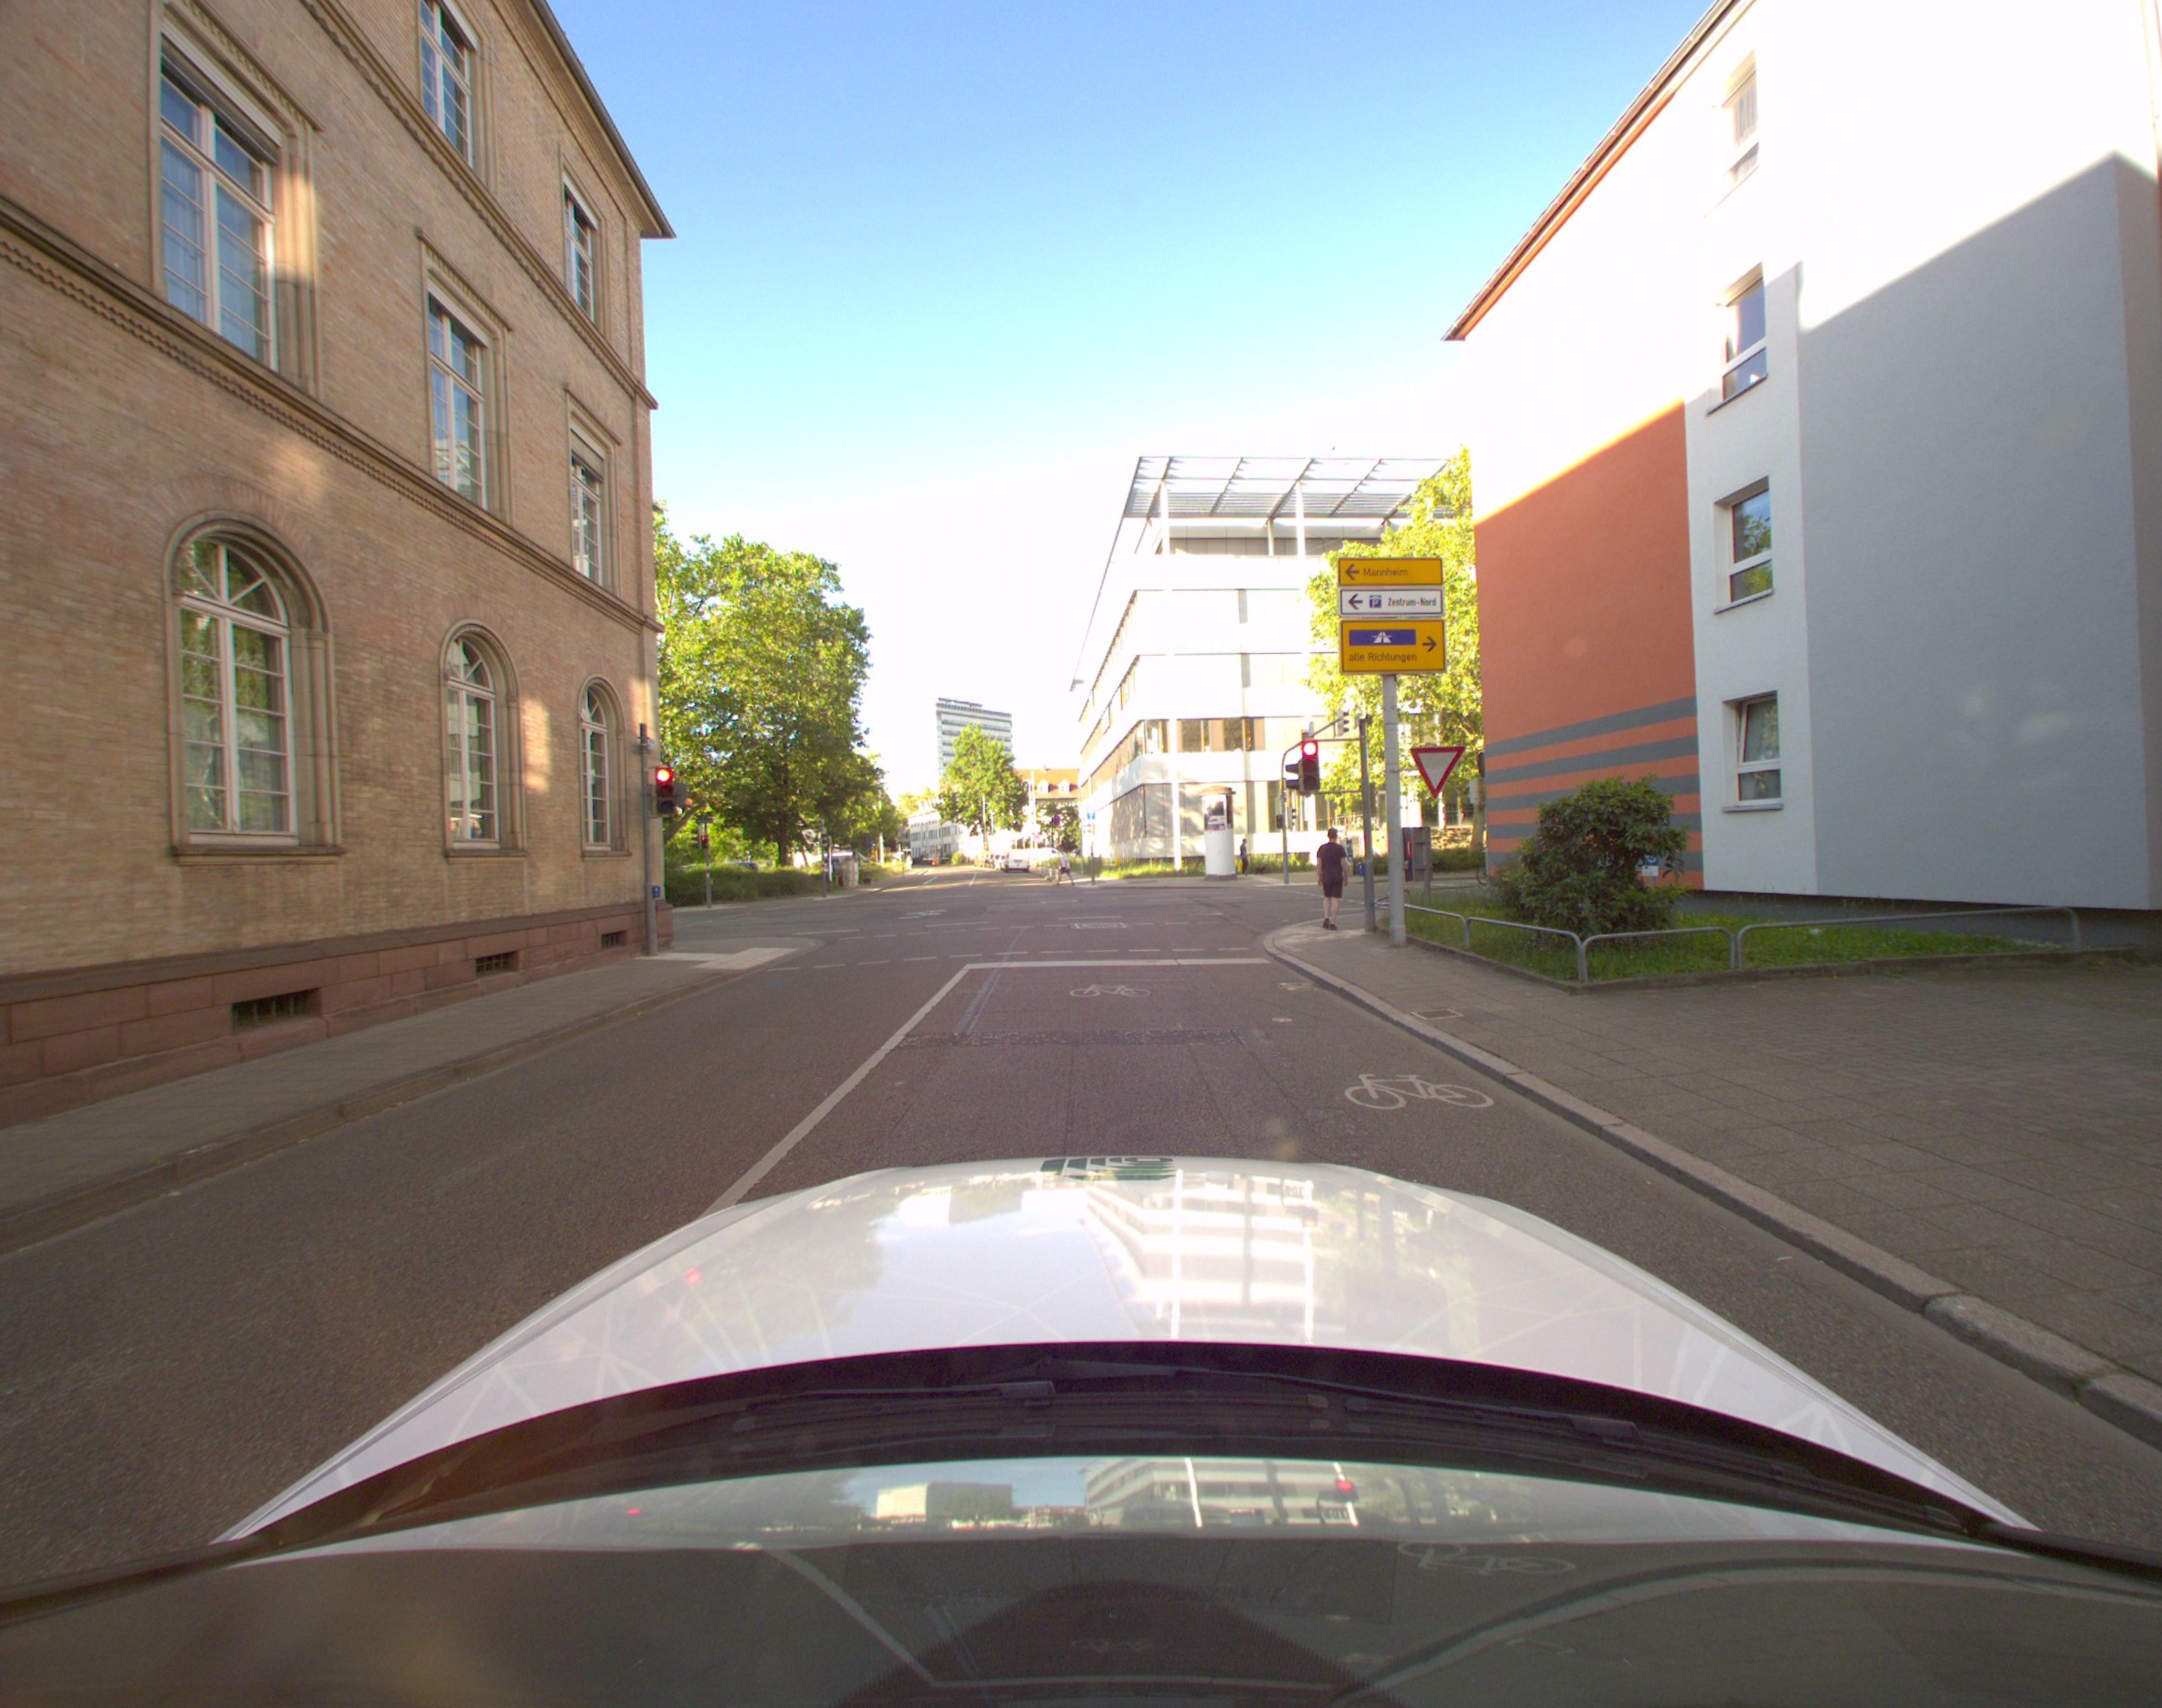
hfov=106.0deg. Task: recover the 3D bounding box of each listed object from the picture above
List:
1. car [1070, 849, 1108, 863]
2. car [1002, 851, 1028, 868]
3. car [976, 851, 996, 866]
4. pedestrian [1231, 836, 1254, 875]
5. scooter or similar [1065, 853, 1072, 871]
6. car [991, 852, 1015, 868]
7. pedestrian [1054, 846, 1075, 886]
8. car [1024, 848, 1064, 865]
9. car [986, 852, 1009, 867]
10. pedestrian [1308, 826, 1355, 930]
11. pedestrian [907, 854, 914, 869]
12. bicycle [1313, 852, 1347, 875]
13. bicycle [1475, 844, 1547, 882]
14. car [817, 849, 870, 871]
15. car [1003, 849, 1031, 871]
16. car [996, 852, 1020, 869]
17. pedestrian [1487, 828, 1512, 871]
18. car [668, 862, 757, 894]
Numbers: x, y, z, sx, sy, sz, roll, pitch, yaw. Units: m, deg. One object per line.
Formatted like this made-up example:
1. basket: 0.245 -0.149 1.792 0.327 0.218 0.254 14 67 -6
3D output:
1. car: 1.023 0.278 104.958 4.644 1.725 1.990 0 -1 -15
2. car: -5.847 0.493 71.355 1.993 1.499 4.638 0 -1 -8
3. car: -11.300 0.557 96.306 1.995 1.725 4.633 0 -1 -11
4. pedestrian: 7.705 0.063 38.834 0.913 1.815 0.760 0 -1 -6
5. scooter or similar: -0.913 0.592 58.478 0.436 1.256 1.418 -2 0 -2
6. car: -7.842 0.601 81.629 1.994 1.499 4.270 0 -1 -11
7. pedestrian: -0.755 0.553 37.871 0.911 1.869 0.743 0 -1 1
8. car: -4.683 0.294 103.251 4.802 2.159 1.989 0 -1 -16
9. car: -8.884 0.608 86.382 1.994 1.499 4.635 0 -1 -10
10. pedestrian: 4.468 0.424 14.570 0.695 1.810 0.721 -1 -1 9
11. pedestrian: -18.185 0.820 87.001 0.700 1.587 0.633 0 -1 -14
12. bicycle: 11.007 0.430 36.029 0.381 1.008 1.416 -2 0 -40
13. bicycle: 13.792 0.279 26.152 1.953 1.152 0.593 -2 0 7
14. car: -22.024 0.543 75.770 4.441 2.014 1.995 0 -1 -8
15. car: -5.172 0.480 65.120 1.992 1.725 4.640 0 -1 -7
16. car: -6.919 0.624 77.155 1.993 1.499 4.638 0 -1 -8
17. pedestrian: 17.834 -0.179 34.697 0.761 1.795 0.648 0 -1 4
18. car: -17.083 1.098 37.904 3.407 1.457 1.646 0 -1 -8
